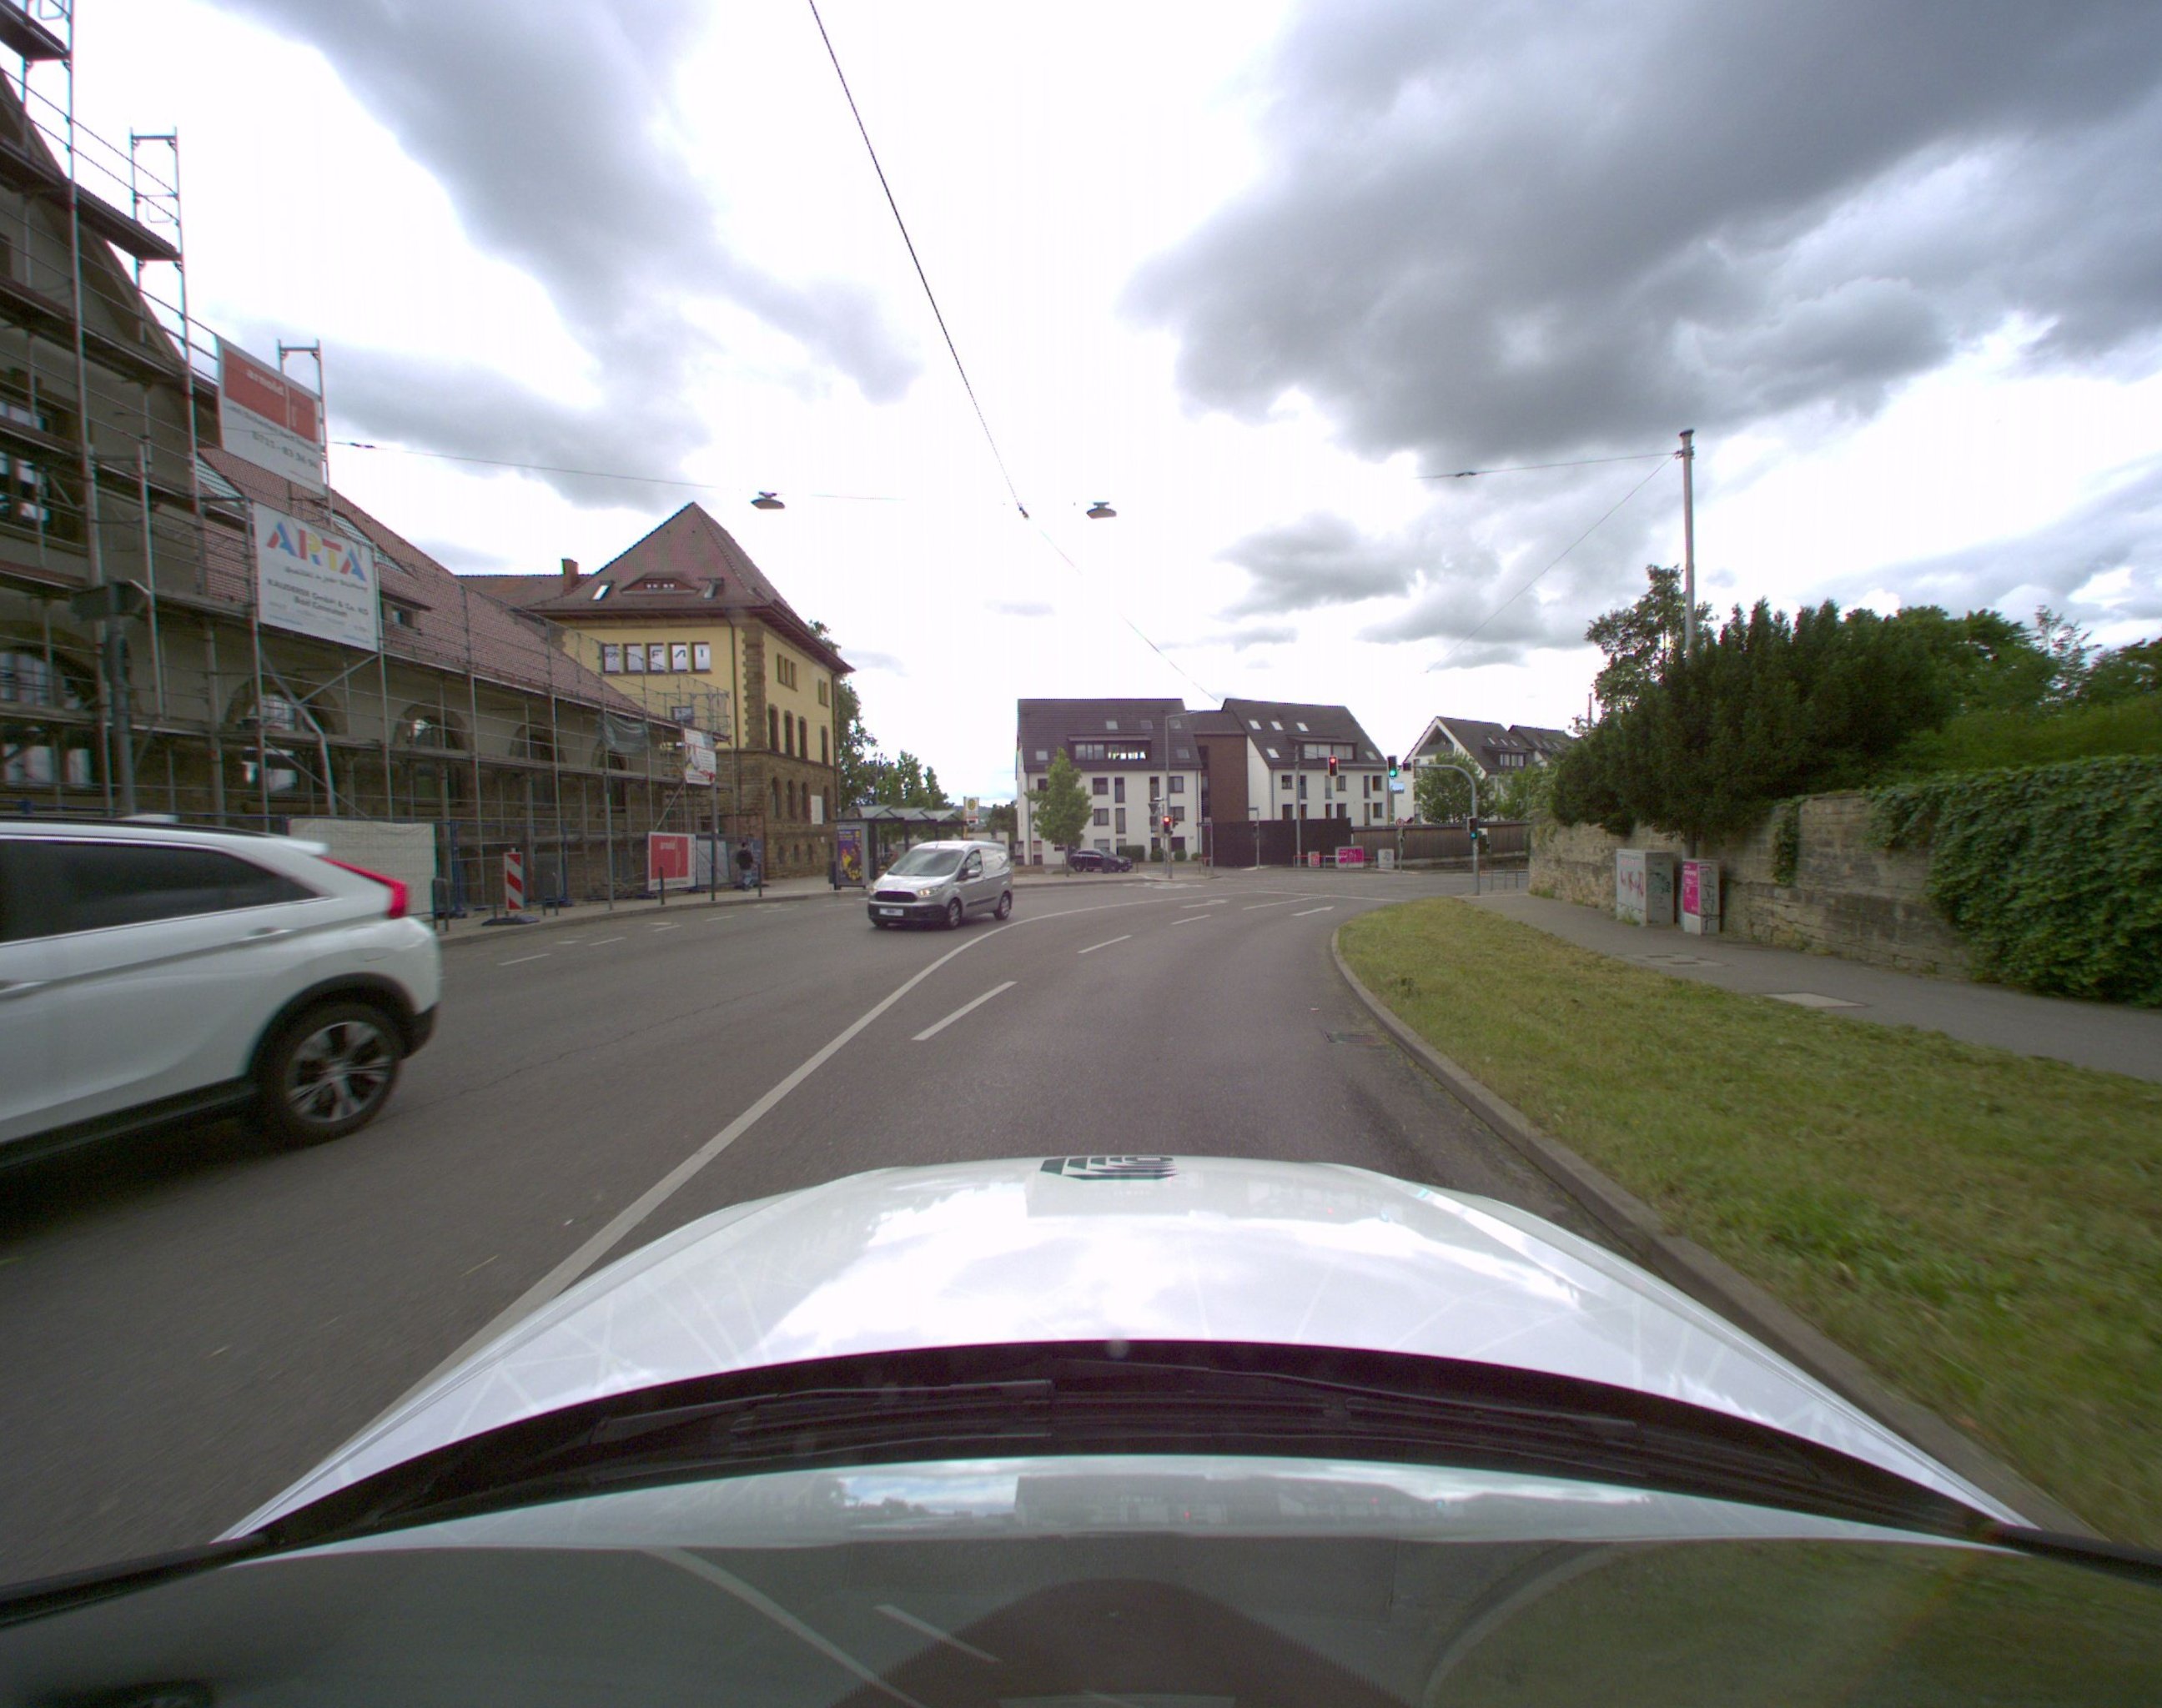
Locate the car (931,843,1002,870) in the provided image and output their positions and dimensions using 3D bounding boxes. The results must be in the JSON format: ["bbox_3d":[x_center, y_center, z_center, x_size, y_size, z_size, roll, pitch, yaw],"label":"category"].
[{"bbox_3d":[-8.844,0.223,63.117,5.037,2.014,2.008,0,0,14],"label":"car"}]

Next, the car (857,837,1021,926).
[{"bbox_3d":[-2.795,0.515,16.991,1.679,1.614,4.101,0,0,17],"label":"car"}]

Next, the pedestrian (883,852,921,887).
[{"bbox_3d":[-6.274,0.524,28.518,0.924,1.192,0.911,0,0,27],"label":"pedestrian"}]

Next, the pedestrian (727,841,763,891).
[{"bbox_3d":[-11.880,0.428,28.797,0.919,1.720,0.799,1,0,1],"label":"pedestrian"}]

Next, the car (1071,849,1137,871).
[{"bbox_3d":[1.592,0.409,57.650,4.219,1.513,2.012,0,0,31],"label":"car"}]

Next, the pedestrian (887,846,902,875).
[{"bbox_3d":[-10.442,0.361,45.604,0.534,1.577,0.656,0,0,14],"label":"pedestrian"}]

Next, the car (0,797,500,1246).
[{"bbox_3d":[-4.784,0.623,2.970,1.783,1.610,4.515,-1,1,5],"label":"car"}]
